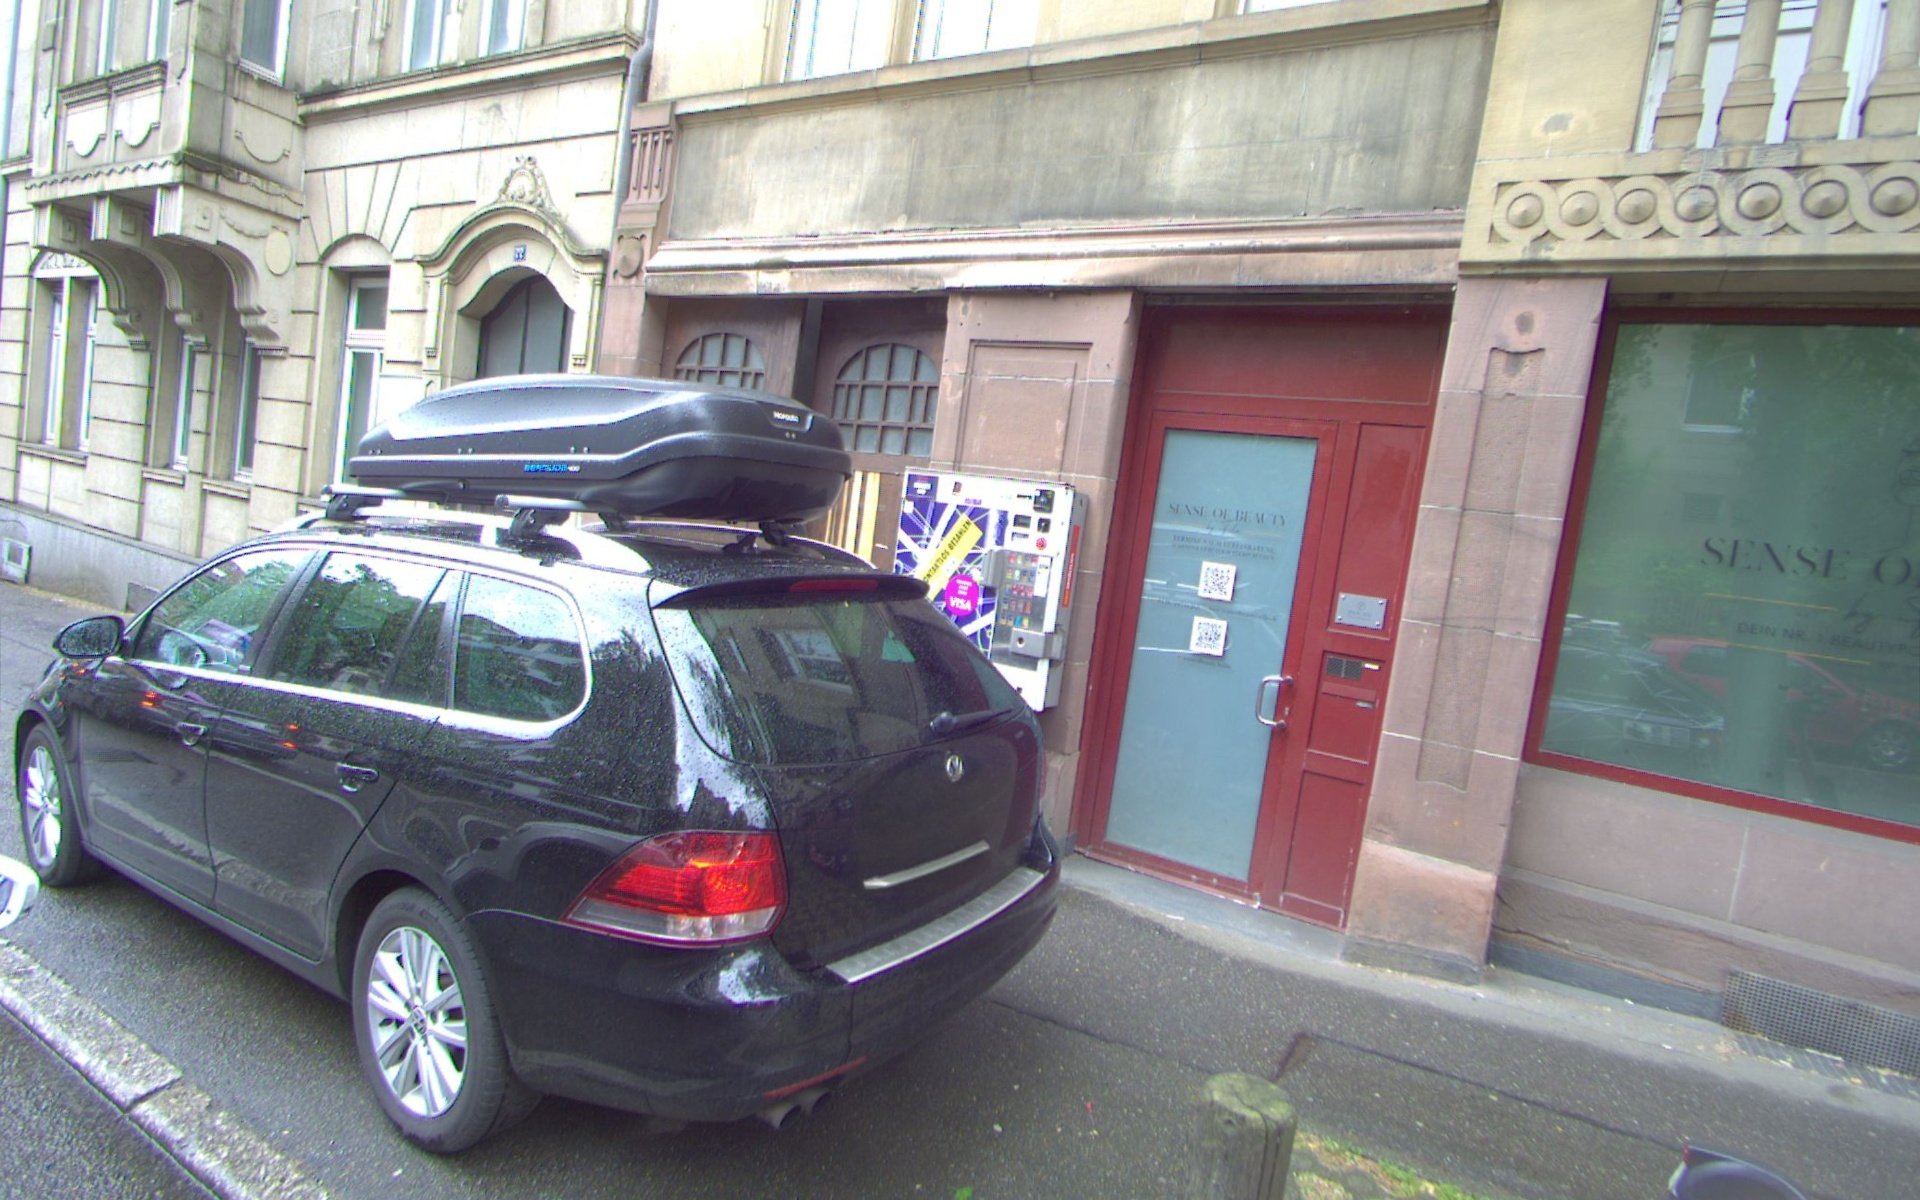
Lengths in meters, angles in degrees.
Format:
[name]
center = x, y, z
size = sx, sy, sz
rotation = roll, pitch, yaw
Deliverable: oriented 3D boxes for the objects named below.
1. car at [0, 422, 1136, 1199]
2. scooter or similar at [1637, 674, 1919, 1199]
[car]
center = -1.668, 0.352, 3.526
size = 4.031, 1.675, 1.757
rotation = 7, 6, 32
[scooter or similar]
center = 2.129, 0.900, 1.950
size = 1.183, 1.336, 0.593
rotation = 7, 3, 32
